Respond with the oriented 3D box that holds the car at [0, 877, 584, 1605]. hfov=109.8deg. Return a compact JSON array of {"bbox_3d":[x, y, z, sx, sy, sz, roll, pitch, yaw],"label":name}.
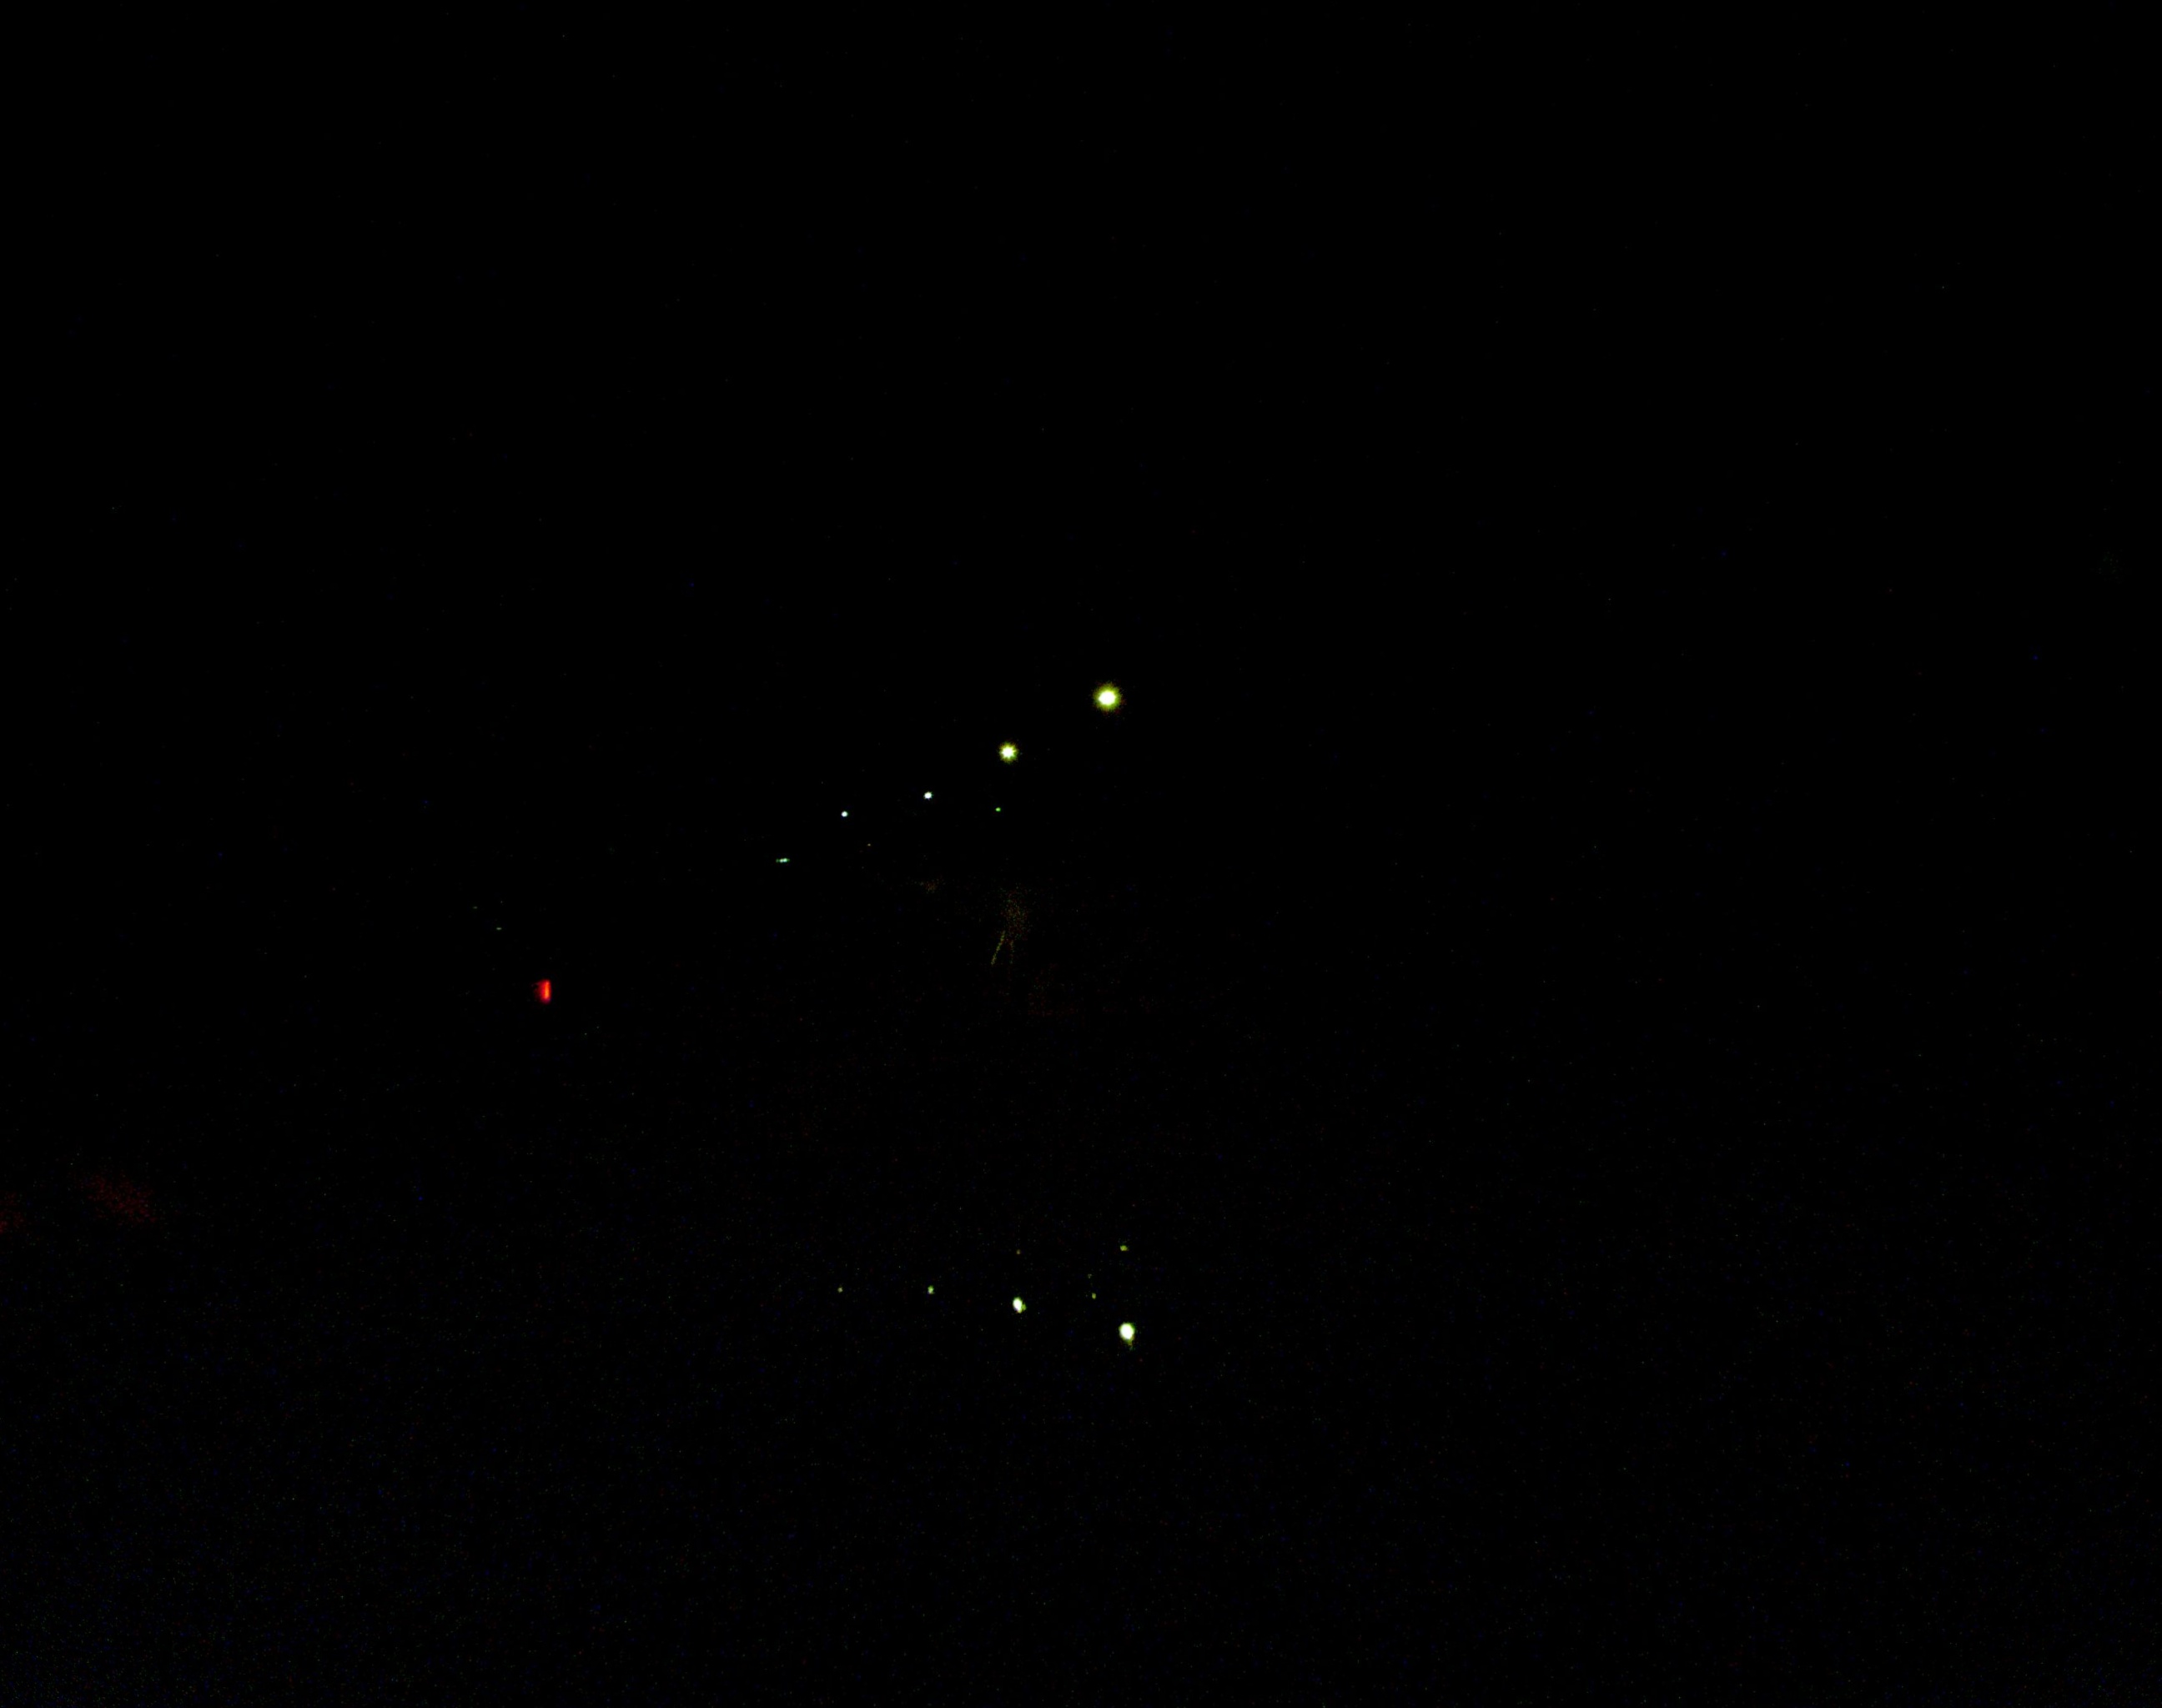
[{"bbox_3d":[-3.364,0.964,1.723,1.674,1.601,4.228,-2,1,-1],"label":"car"}]
